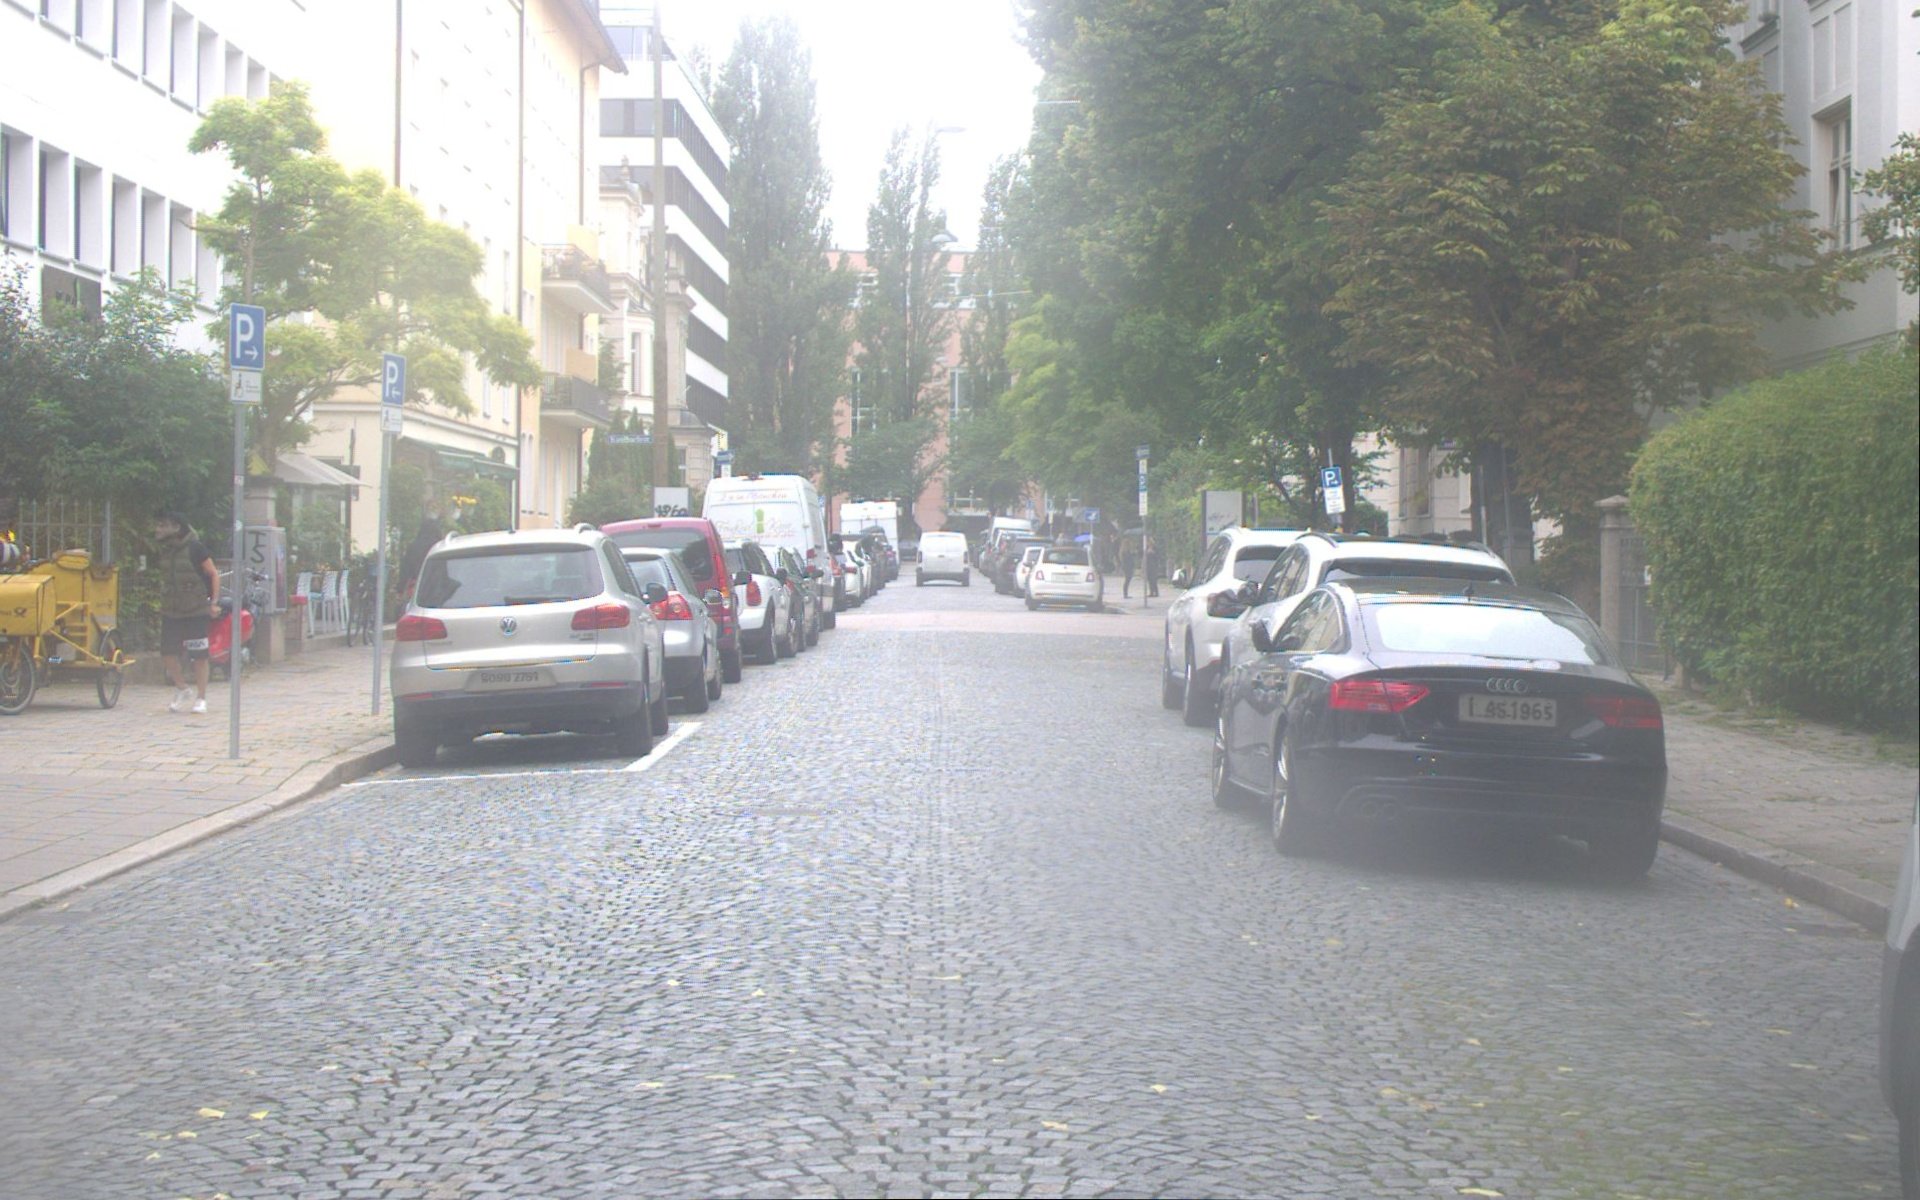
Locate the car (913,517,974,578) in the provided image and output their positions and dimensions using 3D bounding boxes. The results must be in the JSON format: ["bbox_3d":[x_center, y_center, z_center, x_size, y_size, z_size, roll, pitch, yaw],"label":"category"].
[{"bbox_3d":[-0.542,-1.801,117.024,1.993,2.007,4.000,1,1,0],"label":"car"}]

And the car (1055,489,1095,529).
[{"bbox_3d":[6.078,-4.821,182.250,1.993,2.007,4.000,1,1,0],"label":"car"}]

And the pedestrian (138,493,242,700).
[{"bbox_3d":[-6.337,-0.035,28.311,0.693,1.682,0.720,1,1,-1],"label":"pedestrian"}]

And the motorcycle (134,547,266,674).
[{"bbox_3d":[-7.435,0.085,33.714,0.623,1.192,1.864,1,1,9],"label":"motorcycle"}]

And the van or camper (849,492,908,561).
[{"bbox_3d":[-3.373,-3.056,142.967,2.256,2.733,5.098,1,1,0],"label":"van or camper"}]

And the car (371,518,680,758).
[{"bbox_3d":[-3.158,0.213,25.756,1.873,1.574,4.256,-2,1,-2],"label":"car"}]

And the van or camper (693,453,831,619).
[{"bbox_3d":[-3.326,-1.087,58.381,1.993,2.643,4.000,-2,1,0],"label":"van or camper"}]

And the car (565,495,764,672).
[{"bbox_3d":[-3.234,-0.220,38.343,1.873,1.770,4.123,-3,1,-1],"label":"car"}]

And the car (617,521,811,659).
[{"bbox_3d":[-3.051,-0.156,43.443,1.873,1.574,4.208,3,1,3],"label":"car"}]

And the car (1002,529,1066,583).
[{"bbox_3d":[2.141,-1.285,100.115,1.790,1.515,4.000,1,1,0],"label":"car"}]

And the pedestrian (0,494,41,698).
[{"bbox_3d":[-8.145,-0.041,28.779,0.717,1.682,0.695,1,1,-1],"label":"pedestrian"}]

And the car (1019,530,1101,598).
[{"bbox_3d":[2.281,-0.842,79.427,1.790,1.515,4.000,1,1,0],"label":"car"}]

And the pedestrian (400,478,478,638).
[{"bbox_3d":[-6.353,-0.517,41.963,0.792,1.911,0.759,2,1,0],"label":"pedestrian"}]

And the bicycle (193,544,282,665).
[{"bbox_3d":[-7.552,0.031,35.878,0.655,1.217,2.090,0,1,-19],"label":"bicycle"}]

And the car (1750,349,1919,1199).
[{"bbox_3d":[2.991,0.511,5.713,1.873,1.921,5.165,3,1,-2],"label":"car"}]

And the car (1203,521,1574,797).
[{"bbox_3d":[2.772,0.318,23.141,1.817,1.574,4.208,4,1,-1],"label":"car"}]

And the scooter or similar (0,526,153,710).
[{"bbox_3d":[-7.408,0.114,28.242,0.941,1.437,2.657,1,1,0],"label":"scooter or similar"}]

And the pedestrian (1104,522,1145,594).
[{"bbox_3d":[4.614,-1.176,96.404,0.856,2.007,0.991,0,1,-17],"label":"pedestrian"}]

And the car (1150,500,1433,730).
[{"bbox_3d":[2.766,0.071,29.664,1.873,1.727,4.593,3,1,0],"label":"car"}]

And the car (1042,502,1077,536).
[{"bbox_3d":[5.954,-4.874,206.803,1.993,2.007,4.000,1,1,0],"label":"car"}]

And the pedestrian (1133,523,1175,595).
[{"bbox_3d":[5.464,-1.169,96.840,0.856,2.007,0.991,0,1,-17],"label":"pedestrian"}]

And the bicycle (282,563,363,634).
[{"bbox_3d":[-7.870,-0.028,42.500,0.502,0.836,2.089,1,1,3],"label":"bicycle"}]

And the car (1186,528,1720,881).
[{"bbox_3d":[2.383,0.431,17.834,1.873,1.498,4.512,3,1,-2],"label":"car"}]

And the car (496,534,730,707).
[{"bbox_3d":[-3.136,0.135,31.808,1.873,1.446,4.208,-1,1,-2],"label":"car"}]

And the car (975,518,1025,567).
[{"bbox_3d":[1.660,-2.407,143.318,1.993,2.007,4.000,1,1,0],"label":"car"}]
